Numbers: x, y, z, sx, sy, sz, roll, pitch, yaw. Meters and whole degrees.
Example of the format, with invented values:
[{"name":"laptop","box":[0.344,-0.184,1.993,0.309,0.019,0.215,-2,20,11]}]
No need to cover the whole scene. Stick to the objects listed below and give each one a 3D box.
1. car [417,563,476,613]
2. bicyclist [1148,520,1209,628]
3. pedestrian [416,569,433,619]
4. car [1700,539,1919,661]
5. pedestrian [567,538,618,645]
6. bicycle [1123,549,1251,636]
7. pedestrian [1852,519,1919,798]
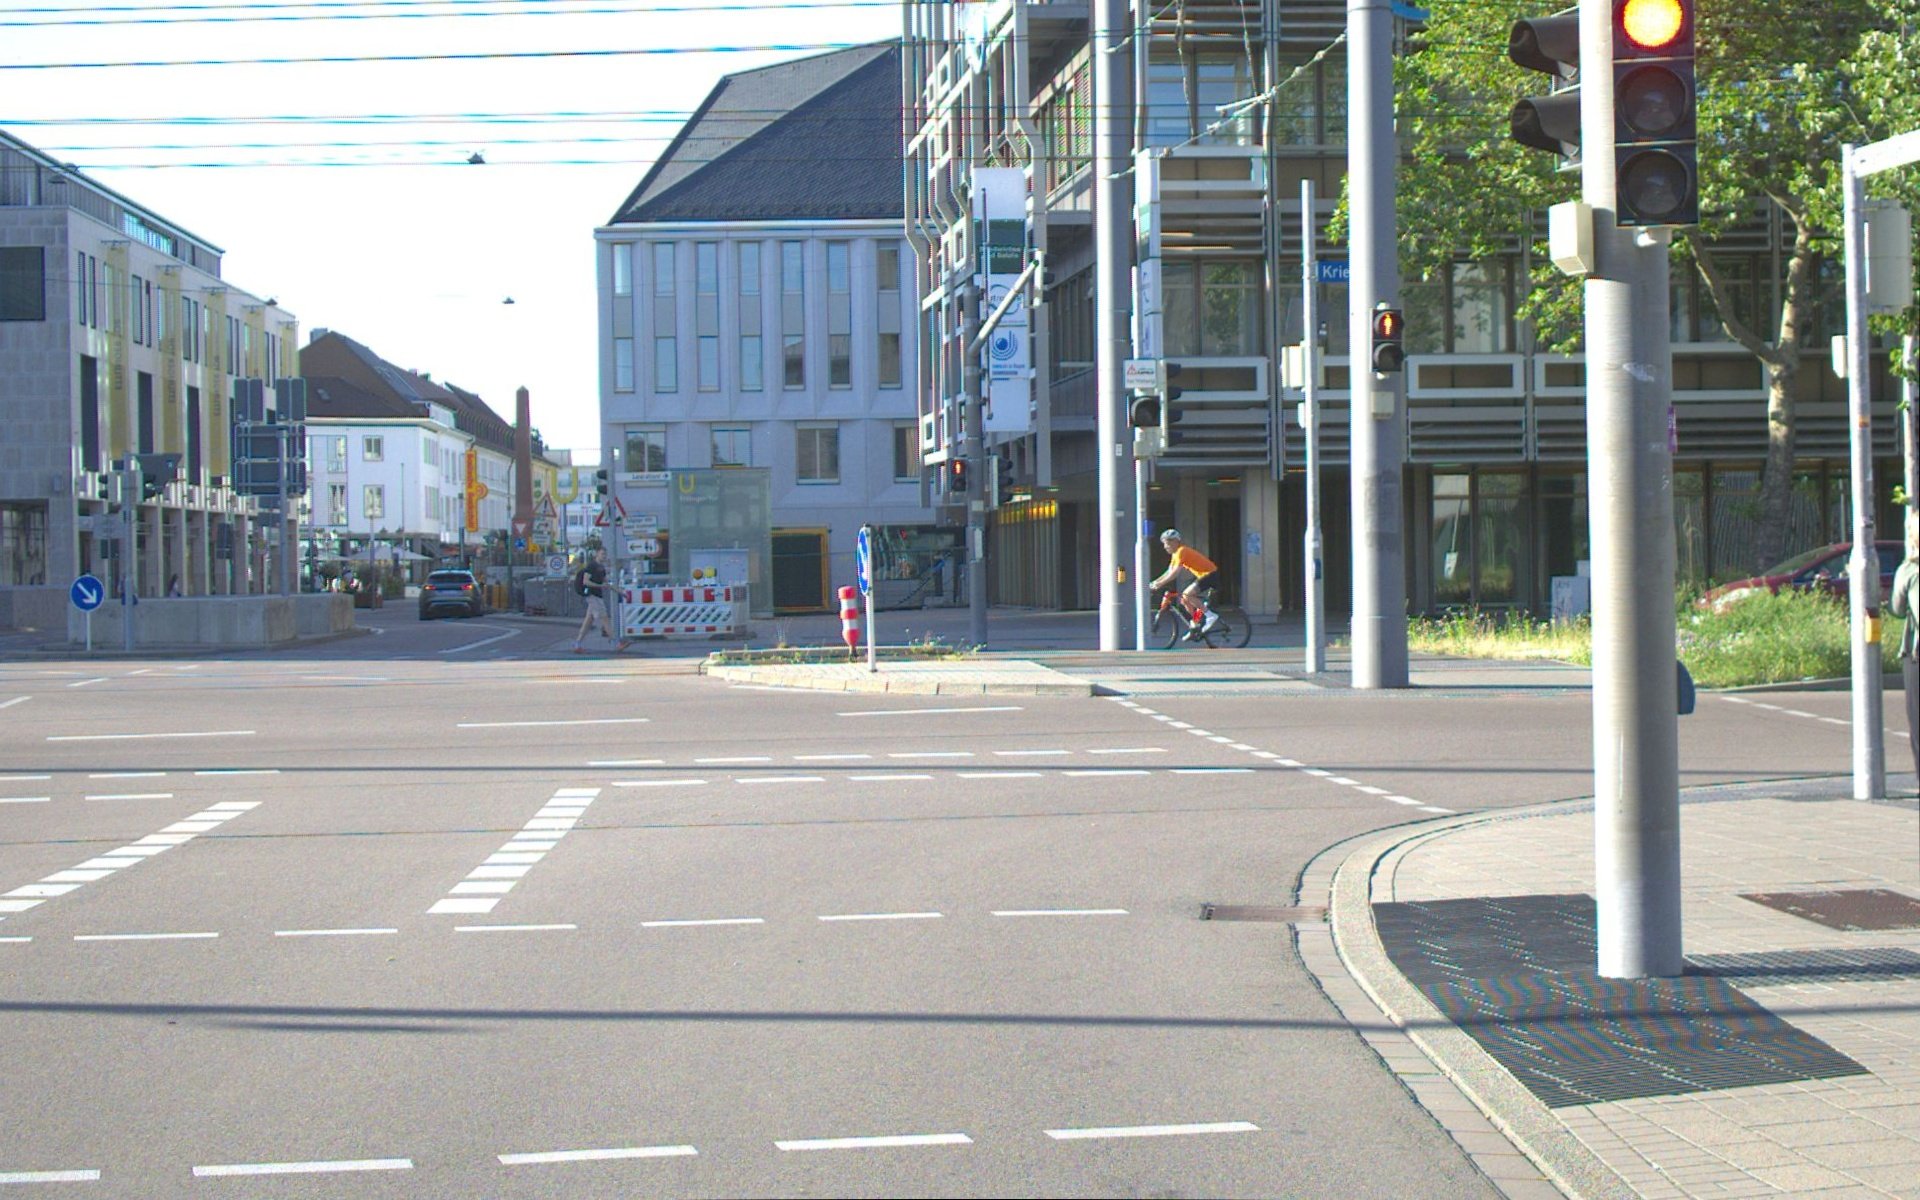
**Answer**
[{"name":"car","box":[-16.146,-0.390,108.212,1.737,1.525,3.856,1,1,-7]},{"name":"bicyclist","box":[2.957,-0.350,46.458,0.711,1.432,0.497,1,0,-9]},{"name":"pedestrian","box":[-18.250,-0.214,117.172,0.521,1.674,0.583,1,1,-7]},{"name":"car","box":[12.134,-0.019,46.301,3.884,1.579,1.660,-1,1,-7]},{"name":"pedestrian","box":[-6.507,-0.154,60.859,0.642,1.883,0.790,1,0,14]},{"name":"bicycle","box":[3.070,-0.098,46.477,1.644,1.150,0.497,1,0,-9]},{"name":"pedestrian","box":[5.338,0.314,18.683,0.788,1.487,0.644,1,0,-1]}]
